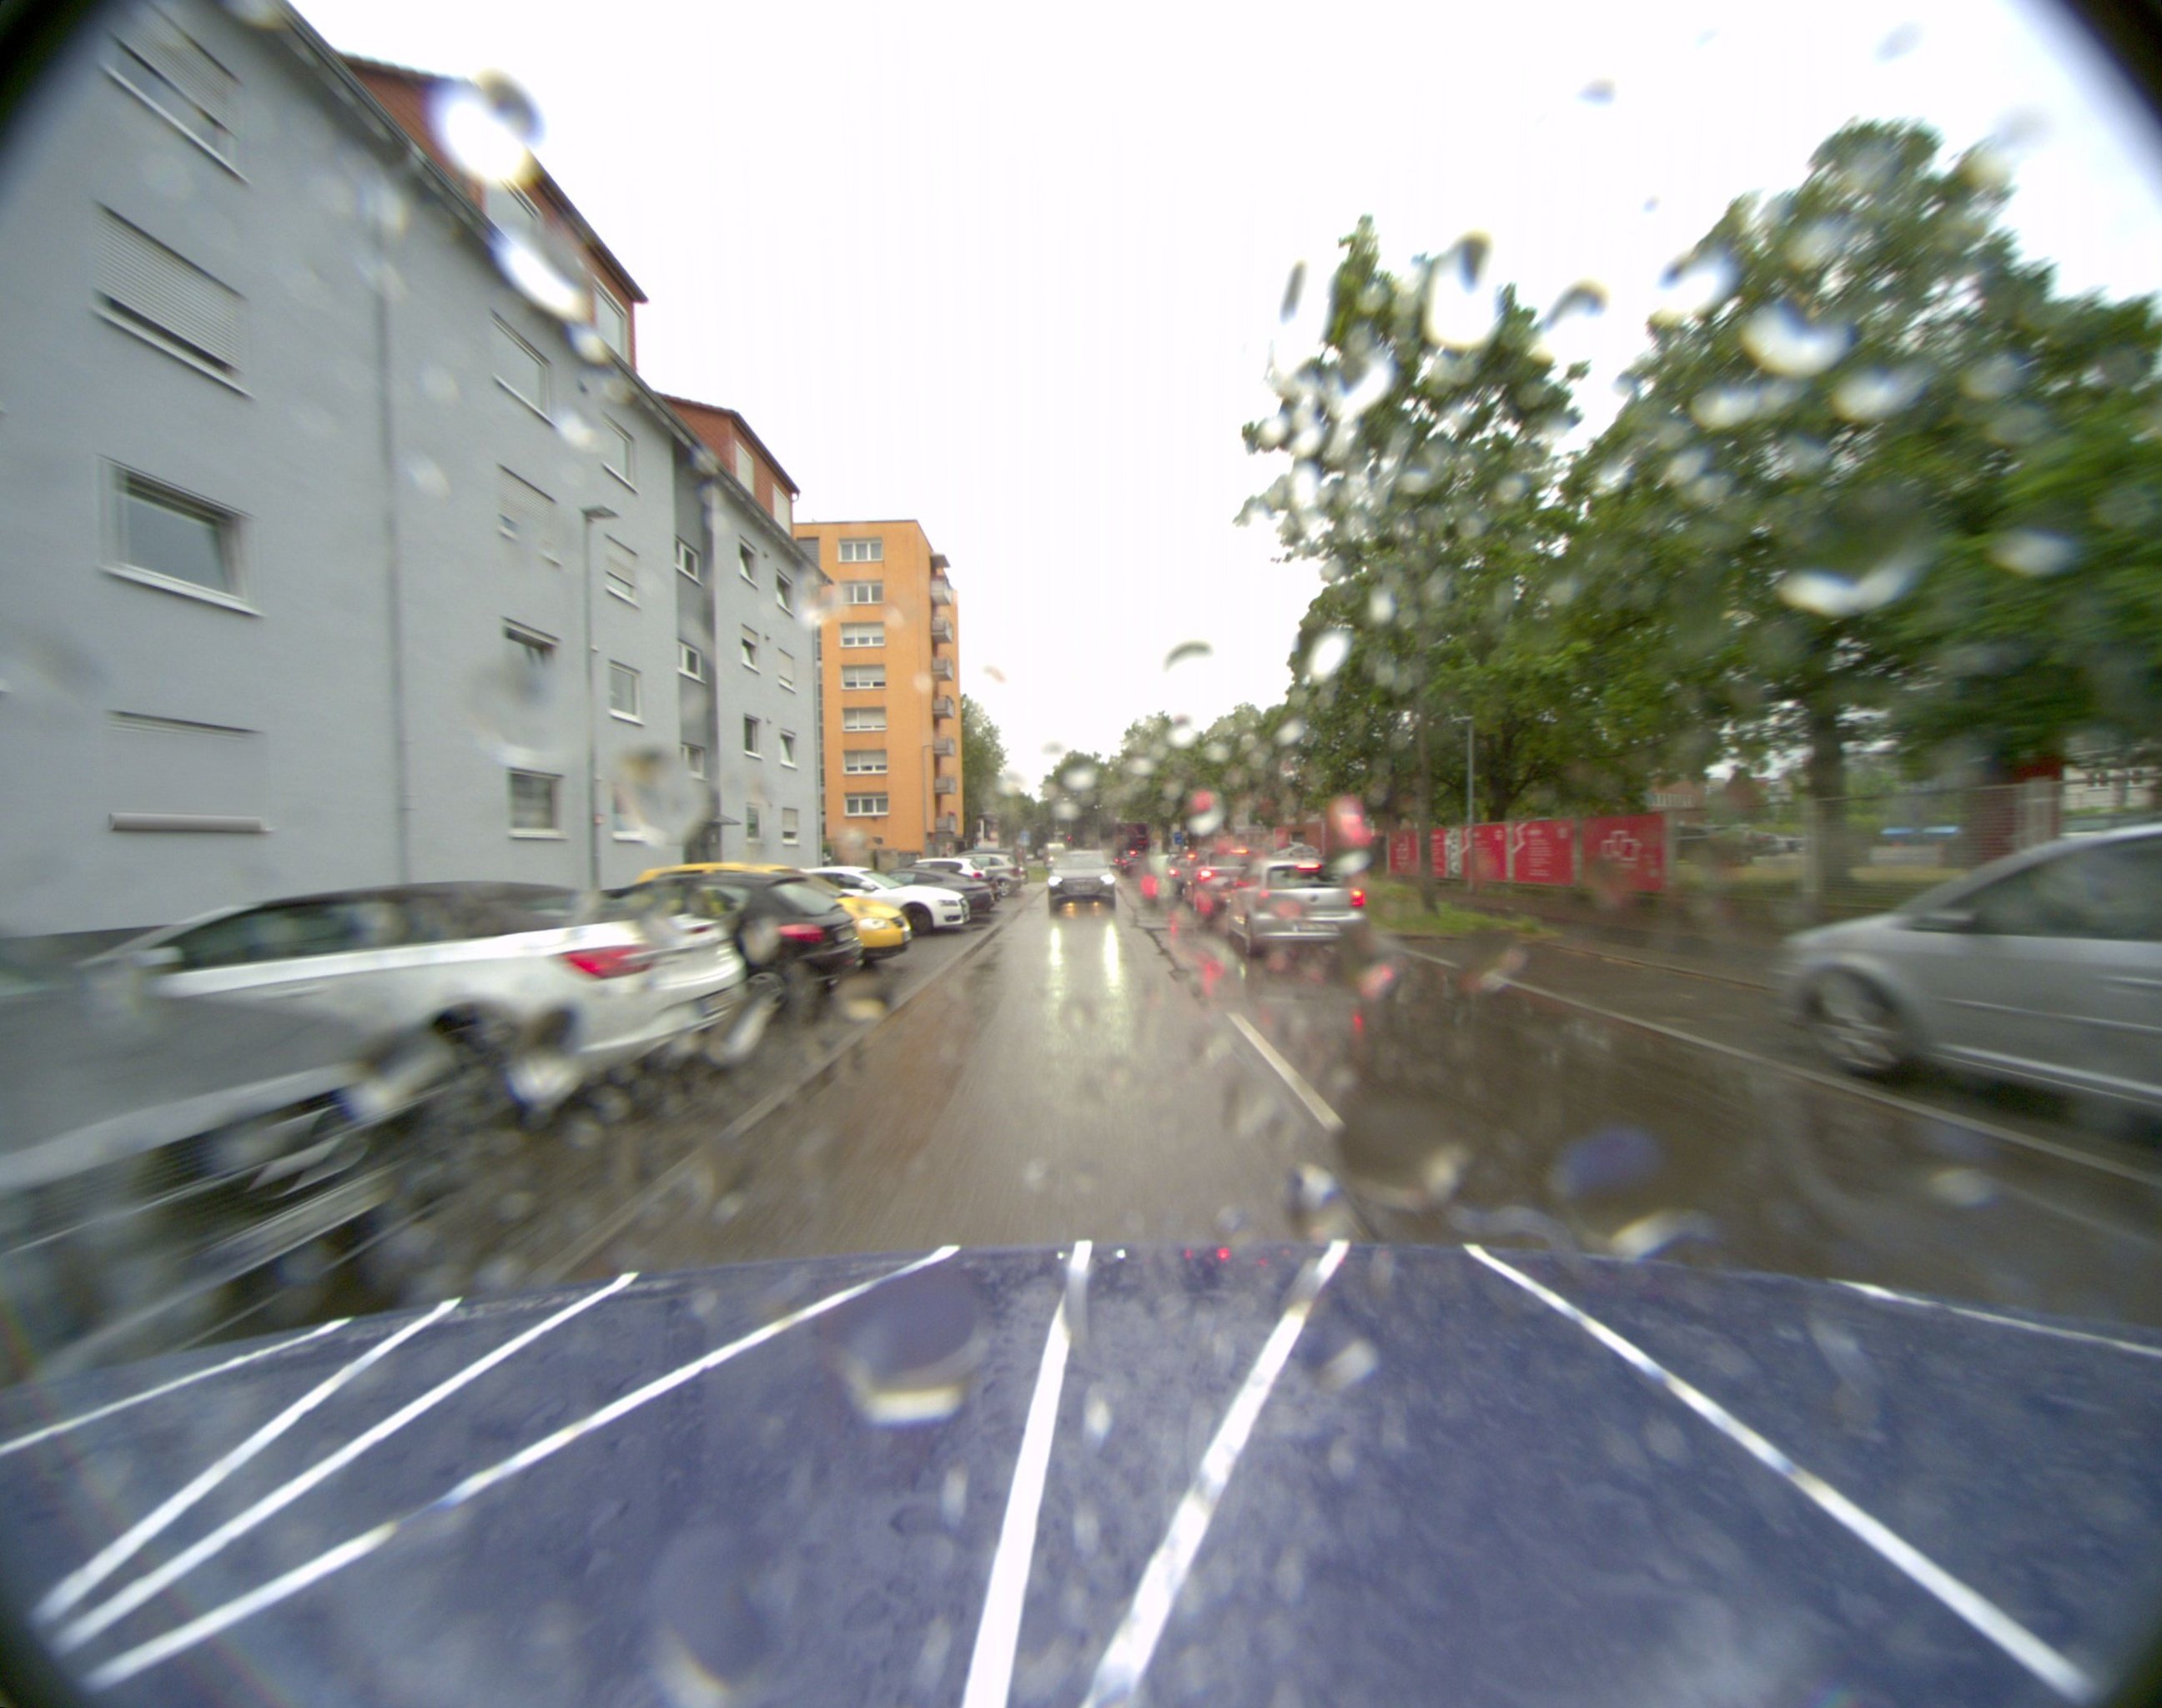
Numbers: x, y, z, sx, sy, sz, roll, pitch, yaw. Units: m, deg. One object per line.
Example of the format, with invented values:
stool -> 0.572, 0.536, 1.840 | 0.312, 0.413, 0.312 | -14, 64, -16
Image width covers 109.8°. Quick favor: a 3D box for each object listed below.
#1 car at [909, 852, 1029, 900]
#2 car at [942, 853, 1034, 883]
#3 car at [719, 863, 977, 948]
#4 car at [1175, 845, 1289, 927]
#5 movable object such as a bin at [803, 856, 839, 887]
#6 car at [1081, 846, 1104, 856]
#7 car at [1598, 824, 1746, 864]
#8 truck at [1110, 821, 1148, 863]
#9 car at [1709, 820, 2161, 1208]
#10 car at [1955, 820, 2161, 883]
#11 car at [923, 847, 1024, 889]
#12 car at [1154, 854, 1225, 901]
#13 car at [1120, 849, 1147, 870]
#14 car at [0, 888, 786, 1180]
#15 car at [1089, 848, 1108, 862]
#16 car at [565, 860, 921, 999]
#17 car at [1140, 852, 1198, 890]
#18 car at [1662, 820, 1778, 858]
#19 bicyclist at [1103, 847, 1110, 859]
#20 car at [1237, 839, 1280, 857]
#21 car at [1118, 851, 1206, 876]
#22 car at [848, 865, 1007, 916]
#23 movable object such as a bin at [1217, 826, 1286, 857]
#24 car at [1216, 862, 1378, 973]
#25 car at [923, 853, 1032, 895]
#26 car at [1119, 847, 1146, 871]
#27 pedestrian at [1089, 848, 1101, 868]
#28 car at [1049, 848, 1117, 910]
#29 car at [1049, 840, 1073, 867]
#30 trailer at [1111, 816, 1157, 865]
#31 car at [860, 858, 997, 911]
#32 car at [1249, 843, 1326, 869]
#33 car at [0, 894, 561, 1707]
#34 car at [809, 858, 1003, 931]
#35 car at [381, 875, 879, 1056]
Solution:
car -> -4.121, 0.793, 28.530 | 4.192, 1.563, 1.890 | -2, 1, 0
car -> -4.844, 0.728, 40.149 | 4.544, 1.462, 1.983 | -1, 1, 1
car -> -4.656, 1.011, 15.719 | 4.639, 1.428, 2.000 | -2, 1, 2
car -> 3.452, 0.648, 18.307 | 1.919, 1.630, 4.821 | -2, 1, 2
movable object such as a bin -> -11.662, 0.780, 34.052 | 1.237, 1.369, 0.823 | -2, 1, 8
car -> 2.422, -0.608, 158.827 | 4.668, 1.863, 2.033 | -1, 0, 1
car -> 24.428, -0.379, 31.601 | 2.002, 1.518, 4.425 | -2, 0, -26
truck -> 4.909, -1.175, 78.591 | 3.459, 4.055, 6.974 | -2, 0, 1
car -> 5.647, 0.685, 3.442 | 1.780, 1.670, 4.600 | -4, 0, 1
car -> 27.354, -0.078, 20.923 | 1.805, 1.574, 3.991 | -2, 1, -26
car -> -4.677, 0.592, 33.697 | 4.243, 1.795, 1.944 | -1, 1, -3
car -> 3.488, 0.718, 25.153 | 1.783, 1.412, 4.265 | -1, 0, 1
car -> 3.577, 0.338, 52.445 | 1.730, 1.353, 4.338 | -1, 0, 2
car -> -4.505, 1.069, 5.230 | 4.107, 1.449, 2.000 | -2, 0, 2
car -> 1.824, 0.123, 79.416 | 1.703, 1.365, 4.098 | -2, 0, -3
car -> -4.415, 0.951, 10.443 | 3.997, 1.543, 1.852 | -2, 1, -1
car -> 3.639, 0.670, 32.220 | 1.779, 1.395, 4.829 | -2, 1, -1
car -> 38.521, -0.870, 45.918 | 2.003, 2.139, 4.962 | -2, 0, -31
bicyclist -> 3.090, -0.097, 91.450 | 0.581, 1.452, 1.010 | -1, 1, -12
car -> 17.564, -0.581, 75.385 | 3.994, 1.591, 2.002 | -2, -1, 9
car -> 4.945, 0.590, 46.740 | 4.914, 1.445, 2.090 | -1, 0, 33
car -> -4.119, 0.972, 20.873 | 3.863, 1.200, 1.956 | -2, 1, 3
movable object such as a bin -> 17.477, -1.228, 78.277 | 6.767, 2.913, 2.777 | -2, 0, 11
car -> 3.254, 0.875, 12.272 | 1.676, 1.375, 4.253 | -1, 0, 4
car -> -4.167, 0.777, 31.143 | 4.200, 1.559, 1.888 | -1, 1, -1
car -> 3.988, 0.326, 59.228 | 1.872, 1.610, 4.801 | -1, 2, 2
pedestrian -> 1.329, 0.348, 71.265 | 0.870, 1.833, 0.993 | -1, 1, 14
car -> 0.111, 0.686, 23.365 | 1.809, 1.612, 4.137 | -4, 1, 1
car -> -2.044, -0.094, 77.816 | 2.283, 2.547, 6.509 | -2, 0, -2
trailer -> 4.787, -1.161, 71.592 | 3.451, 4.025, 15.050 | -1, 0, 1
car -> -4.642, 0.903, 23.540 | 3.864, 1.446, 1.836 | -2, 1, -1
car -> 12.654, 0.110, 46.576 | 4.346, 1.387, 2.008 | -3, 1, -30
car -> -4.346, 1.031, 2.089 | 4.352, 1.543, 2.040 | -2, 1, 0
car -> -4.094, 0.927, 18.331 | 4.154, 1.477, 2.012 | -2, 1, 0
car -> -4.352, 1.047, 7.834 | 3.997, 1.434, 1.781 | -2, 1, 0
